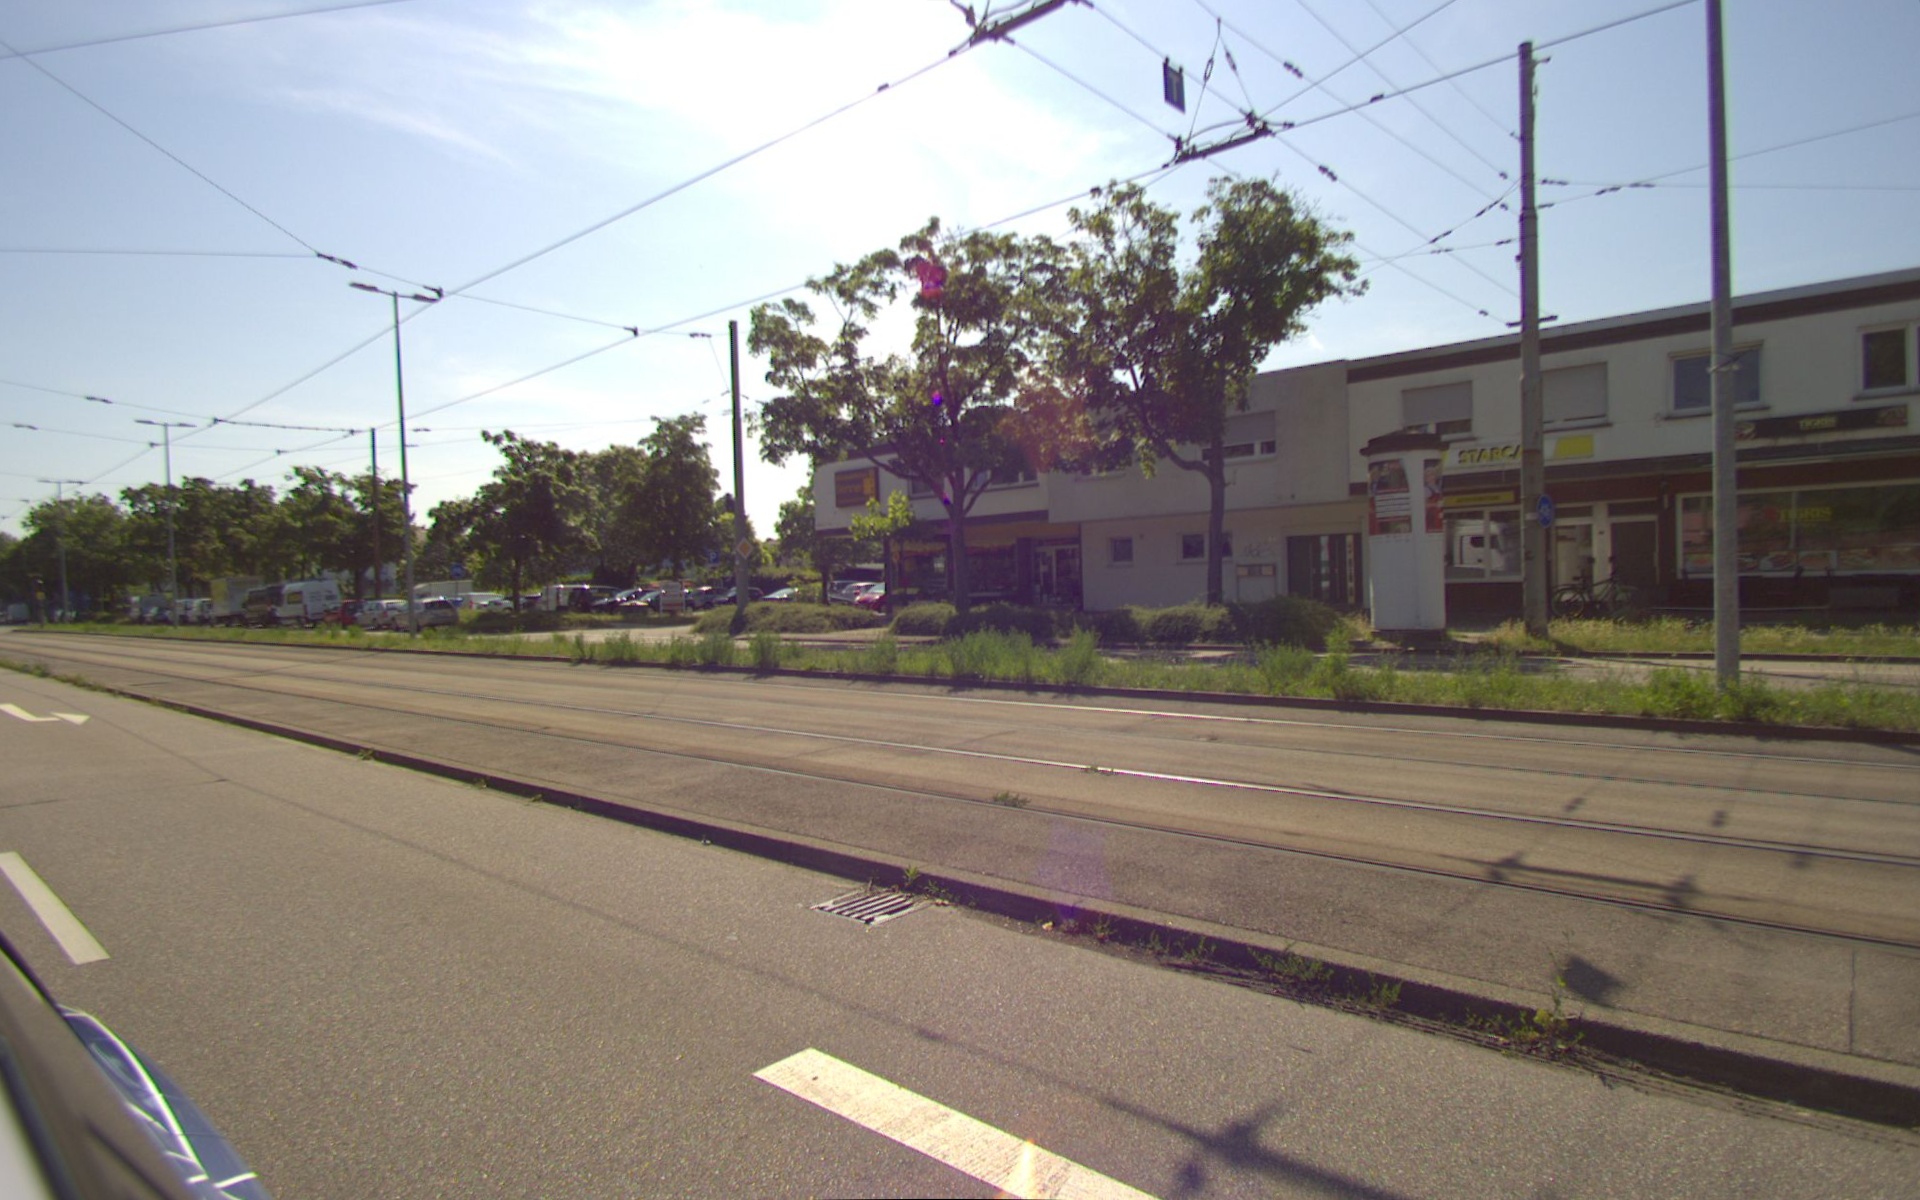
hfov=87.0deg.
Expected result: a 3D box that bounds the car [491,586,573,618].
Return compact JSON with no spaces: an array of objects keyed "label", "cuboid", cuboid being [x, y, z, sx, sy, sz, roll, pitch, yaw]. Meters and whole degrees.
[{"label":"car","cuboid":[-25.900,0.111,61.348,1.988,1.751,4.068,-1,1,38]}]

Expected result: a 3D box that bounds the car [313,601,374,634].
[{"label":"car","cuboid":[-33.150,0.932,54.373,3.791,1.544,1.654,-1,4,41]}]

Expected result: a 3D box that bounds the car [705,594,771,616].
[{"label":"car","cuboid":[-15.235,0.339,69.643,1.676,1.345,4.197,-1,1,42]}]

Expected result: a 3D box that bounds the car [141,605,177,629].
[{"label":"car","cuboid":[-64.401,1.385,81.370,3.685,1.799,1.484,-1,4,40]}]

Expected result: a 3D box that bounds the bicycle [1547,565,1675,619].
[{"label":"bicycle","cuboid":[14.693,-0.165,22.899,2.333,1.161,0.779,-1,-1,42]}]

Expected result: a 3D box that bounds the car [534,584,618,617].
[{"label":"car","cuboid":[-22.057,-0.003,58.192,1.988,1.751,4.068,-1,1,38]}]

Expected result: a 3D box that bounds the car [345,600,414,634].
[{"label":"car","cuboid":[-29.302,0.866,51.034,4.255,1.544,1.654,-1,4,41]}]

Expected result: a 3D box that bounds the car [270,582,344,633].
[{"label":"car","cuboid":[-37.248,0.444,57.656,5.201,2.673,2.036,-1,4,41]}]

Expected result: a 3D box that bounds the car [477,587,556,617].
[{"label":"car","cuboid":[-28.020,0.092,64.005,1.988,1.751,4.068,-1,1,38]}]

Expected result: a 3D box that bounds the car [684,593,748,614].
[{"label":"car","cuboid":[-17.209,0.250,71.572,1.676,1.345,4.197,-1,1,42]}]

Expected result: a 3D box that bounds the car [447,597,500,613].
[{"label":"car","cuboid":[-45.932,0.426,95.642,1.676,1.345,4.198,-1,1,41]}]

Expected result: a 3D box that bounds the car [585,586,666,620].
[{"label":"car","cuboid":[-17.955,0.155,54.438,1.676,1.646,3.761,-1,1,42]}]

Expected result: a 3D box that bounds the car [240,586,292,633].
[{"label":"car","cuboid":[-42.189,0.600,61.530,4.005,2.643,1.483,-1,4,41]}]

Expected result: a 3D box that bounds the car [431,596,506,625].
[{"label":"car","cuboid":[-33.294,0.708,68.425,5.739,1.825,2.560,-1,1,42]}]

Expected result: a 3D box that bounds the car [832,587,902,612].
[{"label":"car","cuboid":[-5.603,-0.054,61.522,1.676,1.345,4.197,-1,1,42]}]

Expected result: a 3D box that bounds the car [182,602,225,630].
[{"label":"car","cuboid":[-54.719,1.154,73.152,4.631,1.817,1.483,-1,4,41]}]

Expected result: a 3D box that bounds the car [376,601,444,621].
[{"label":"car","cuboid":[-42.062,0.813,77.440,1.676,1.345,4.198,-1,1,41]}]

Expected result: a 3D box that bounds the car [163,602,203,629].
[{"label":"car","cuboid":[-59.745,1.193,77.827,4.056,1.859,1.484,-1,4,40]}]

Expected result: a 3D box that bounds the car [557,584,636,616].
[{"label":"car","cuboid":[-20.257,-0.003,56.499,1.676,1.646,3.761,-1,1,42]}]

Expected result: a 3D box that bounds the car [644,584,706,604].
[{"label":"car","cuboid":[-21.040,-0.448,74.768,1.674,1.345,4.201,-1,1,39]}]

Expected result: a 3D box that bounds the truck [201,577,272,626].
[{"label":"truck","cuboid":[-48.356,0.115,67.625,5.902,2.956,2.476,-1,4,42]}]

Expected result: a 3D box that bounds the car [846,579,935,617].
[{"label":"car","cuboid":[-3.240,-0.116,47.990,1.676,1.616,4.197,-1,1,42]}]

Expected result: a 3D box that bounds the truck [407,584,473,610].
[{"label":"truck","cuboid":[-52.876,-0.326,102.994,1.988,2.398,5.584,-1,1,38]}]

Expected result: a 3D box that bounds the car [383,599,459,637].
[{"label":"car","cuboid":[-25.237,0.833,47.358,4.255,1.544,1.654,-1,4,41]}]

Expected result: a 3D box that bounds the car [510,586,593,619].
[{"label":"car","cuboid":[-24.033,0.133,59.673,1.988,1.751,4.068,-1,1,38]}]
